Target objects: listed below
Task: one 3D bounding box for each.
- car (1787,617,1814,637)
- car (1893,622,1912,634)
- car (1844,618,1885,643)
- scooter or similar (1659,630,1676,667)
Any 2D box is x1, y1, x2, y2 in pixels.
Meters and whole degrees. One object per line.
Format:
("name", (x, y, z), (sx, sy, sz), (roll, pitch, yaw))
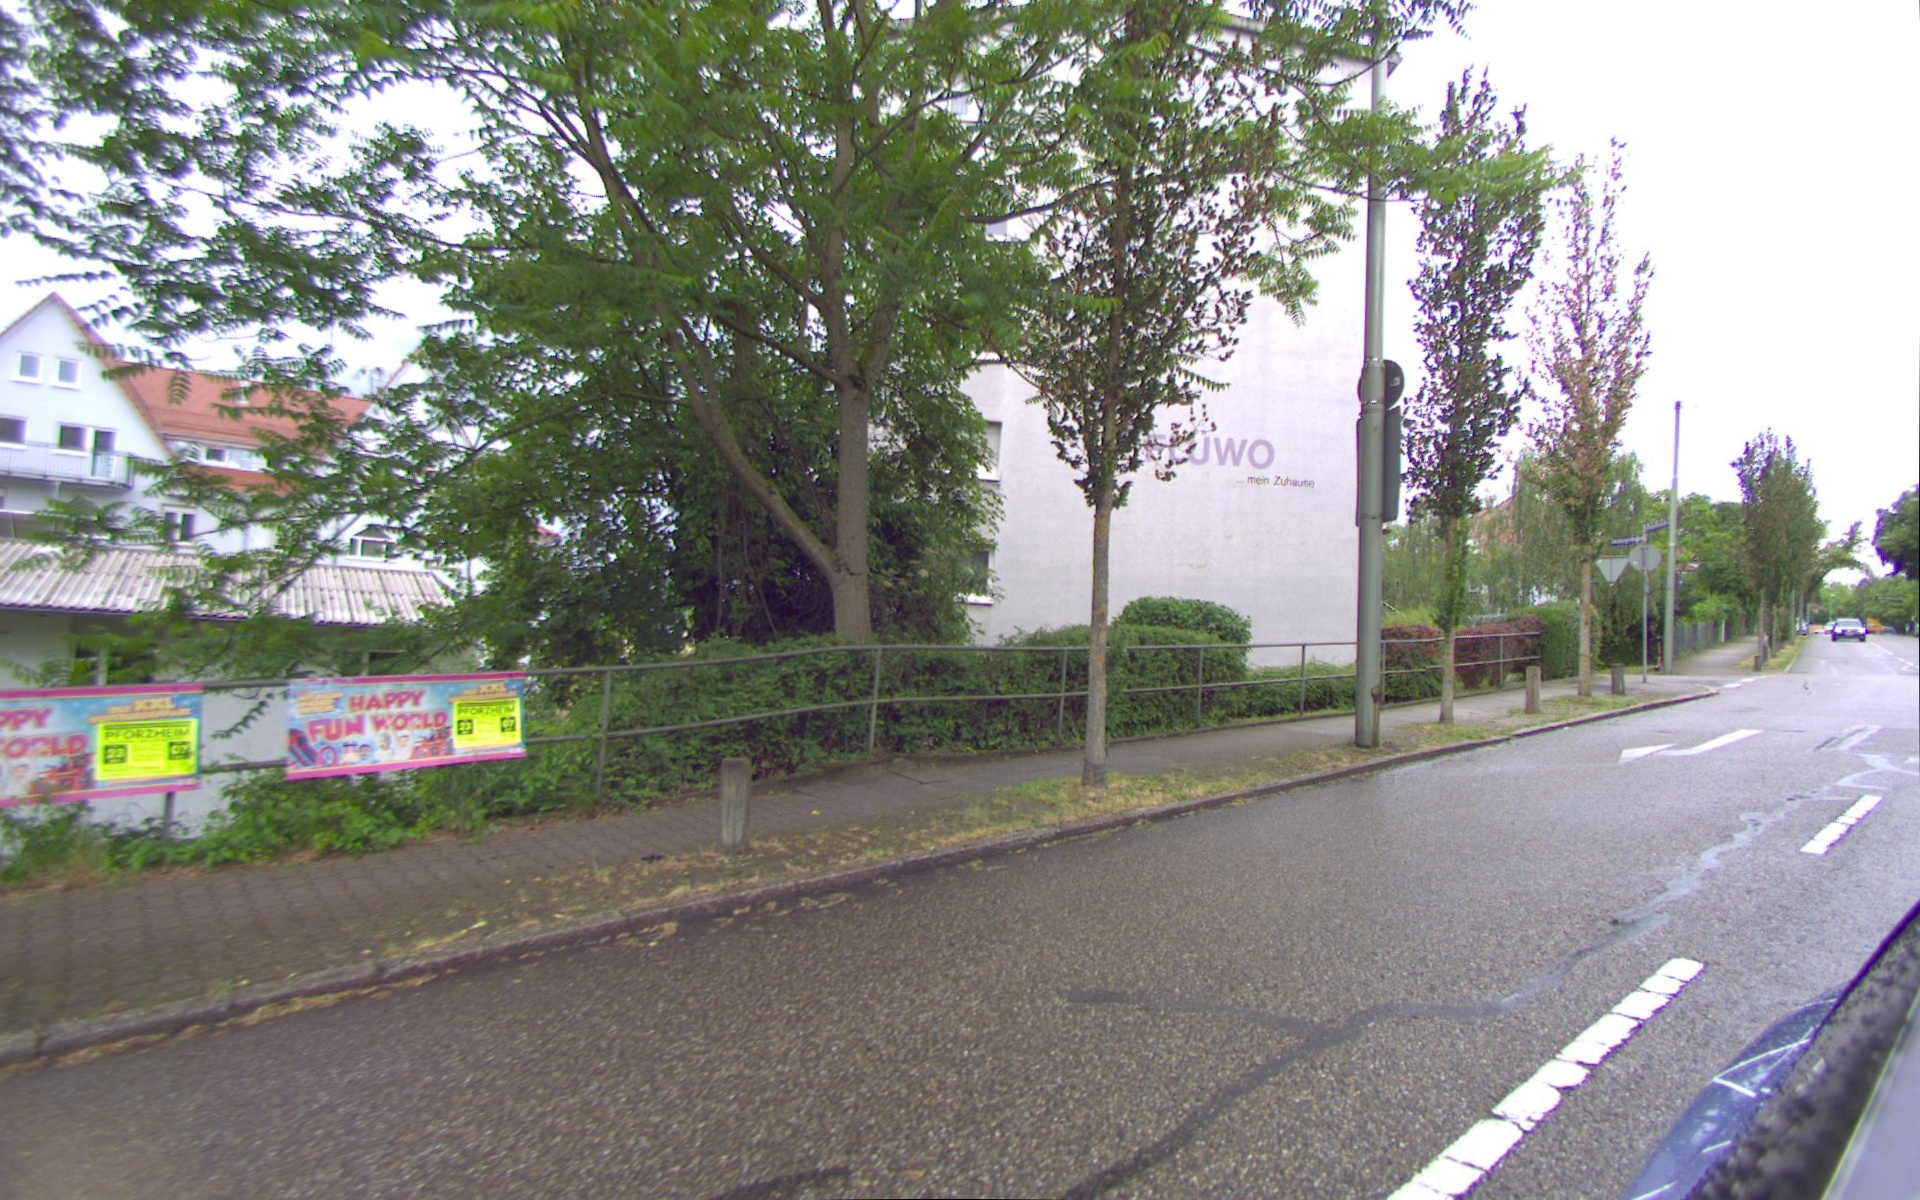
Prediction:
("car", (76.251, 2.440, 91.851), (1.822, 1.650, 3.942), (1, 0, 39))
("car", (134.869, 3.942, 144.829), (1.744, 1.568, 3.860), (4, 2, 40))
("car", (65.688, 2.237, 73.492), (1.993, 1.706, 3.936), (-4, -4, 44))
("scooter or similar", (25.275, 1.727, 36.172), (0.342, 1.270, 1.249), (-4, -2, 40))
